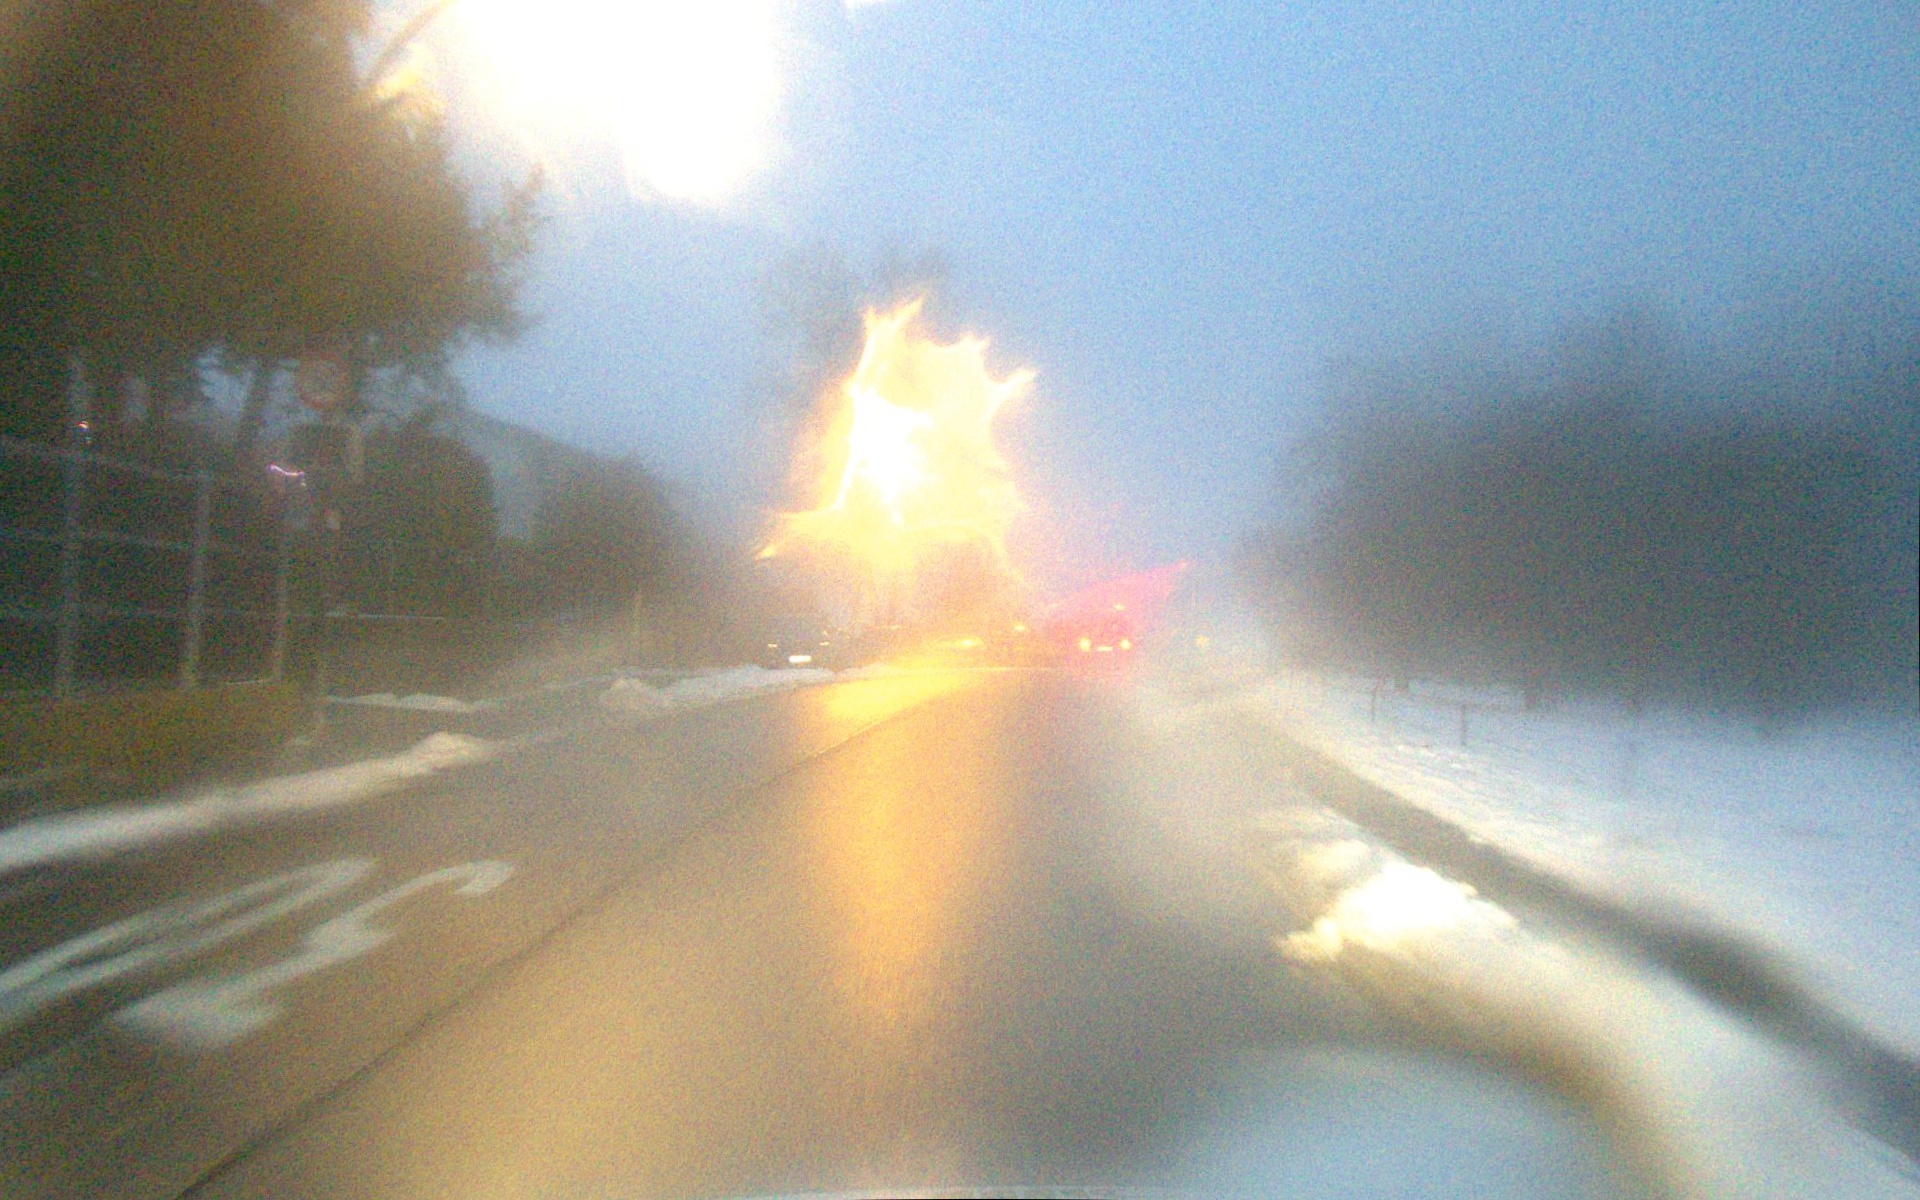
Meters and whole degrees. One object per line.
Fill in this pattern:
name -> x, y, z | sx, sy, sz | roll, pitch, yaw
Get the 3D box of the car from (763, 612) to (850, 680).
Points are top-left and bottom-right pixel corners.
car -> -4.054, 1.242, 43.098 | 1.956, 1.594, 4.987 | -2, -2, -8

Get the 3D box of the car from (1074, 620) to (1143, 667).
car -> 4.844, 1.389, 53.668 | 1.951, 1.445, 4.003 | 1, -1, 9

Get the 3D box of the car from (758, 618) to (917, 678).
car -> -3.571, 1.430, 48.855 | 4.434, 1.594, 2.111 | -2, -2, 1

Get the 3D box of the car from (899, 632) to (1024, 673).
car -> 0.098, 2.164, 67.673 | 4.783, 1.511, 2.125 | -2, -2, 9
